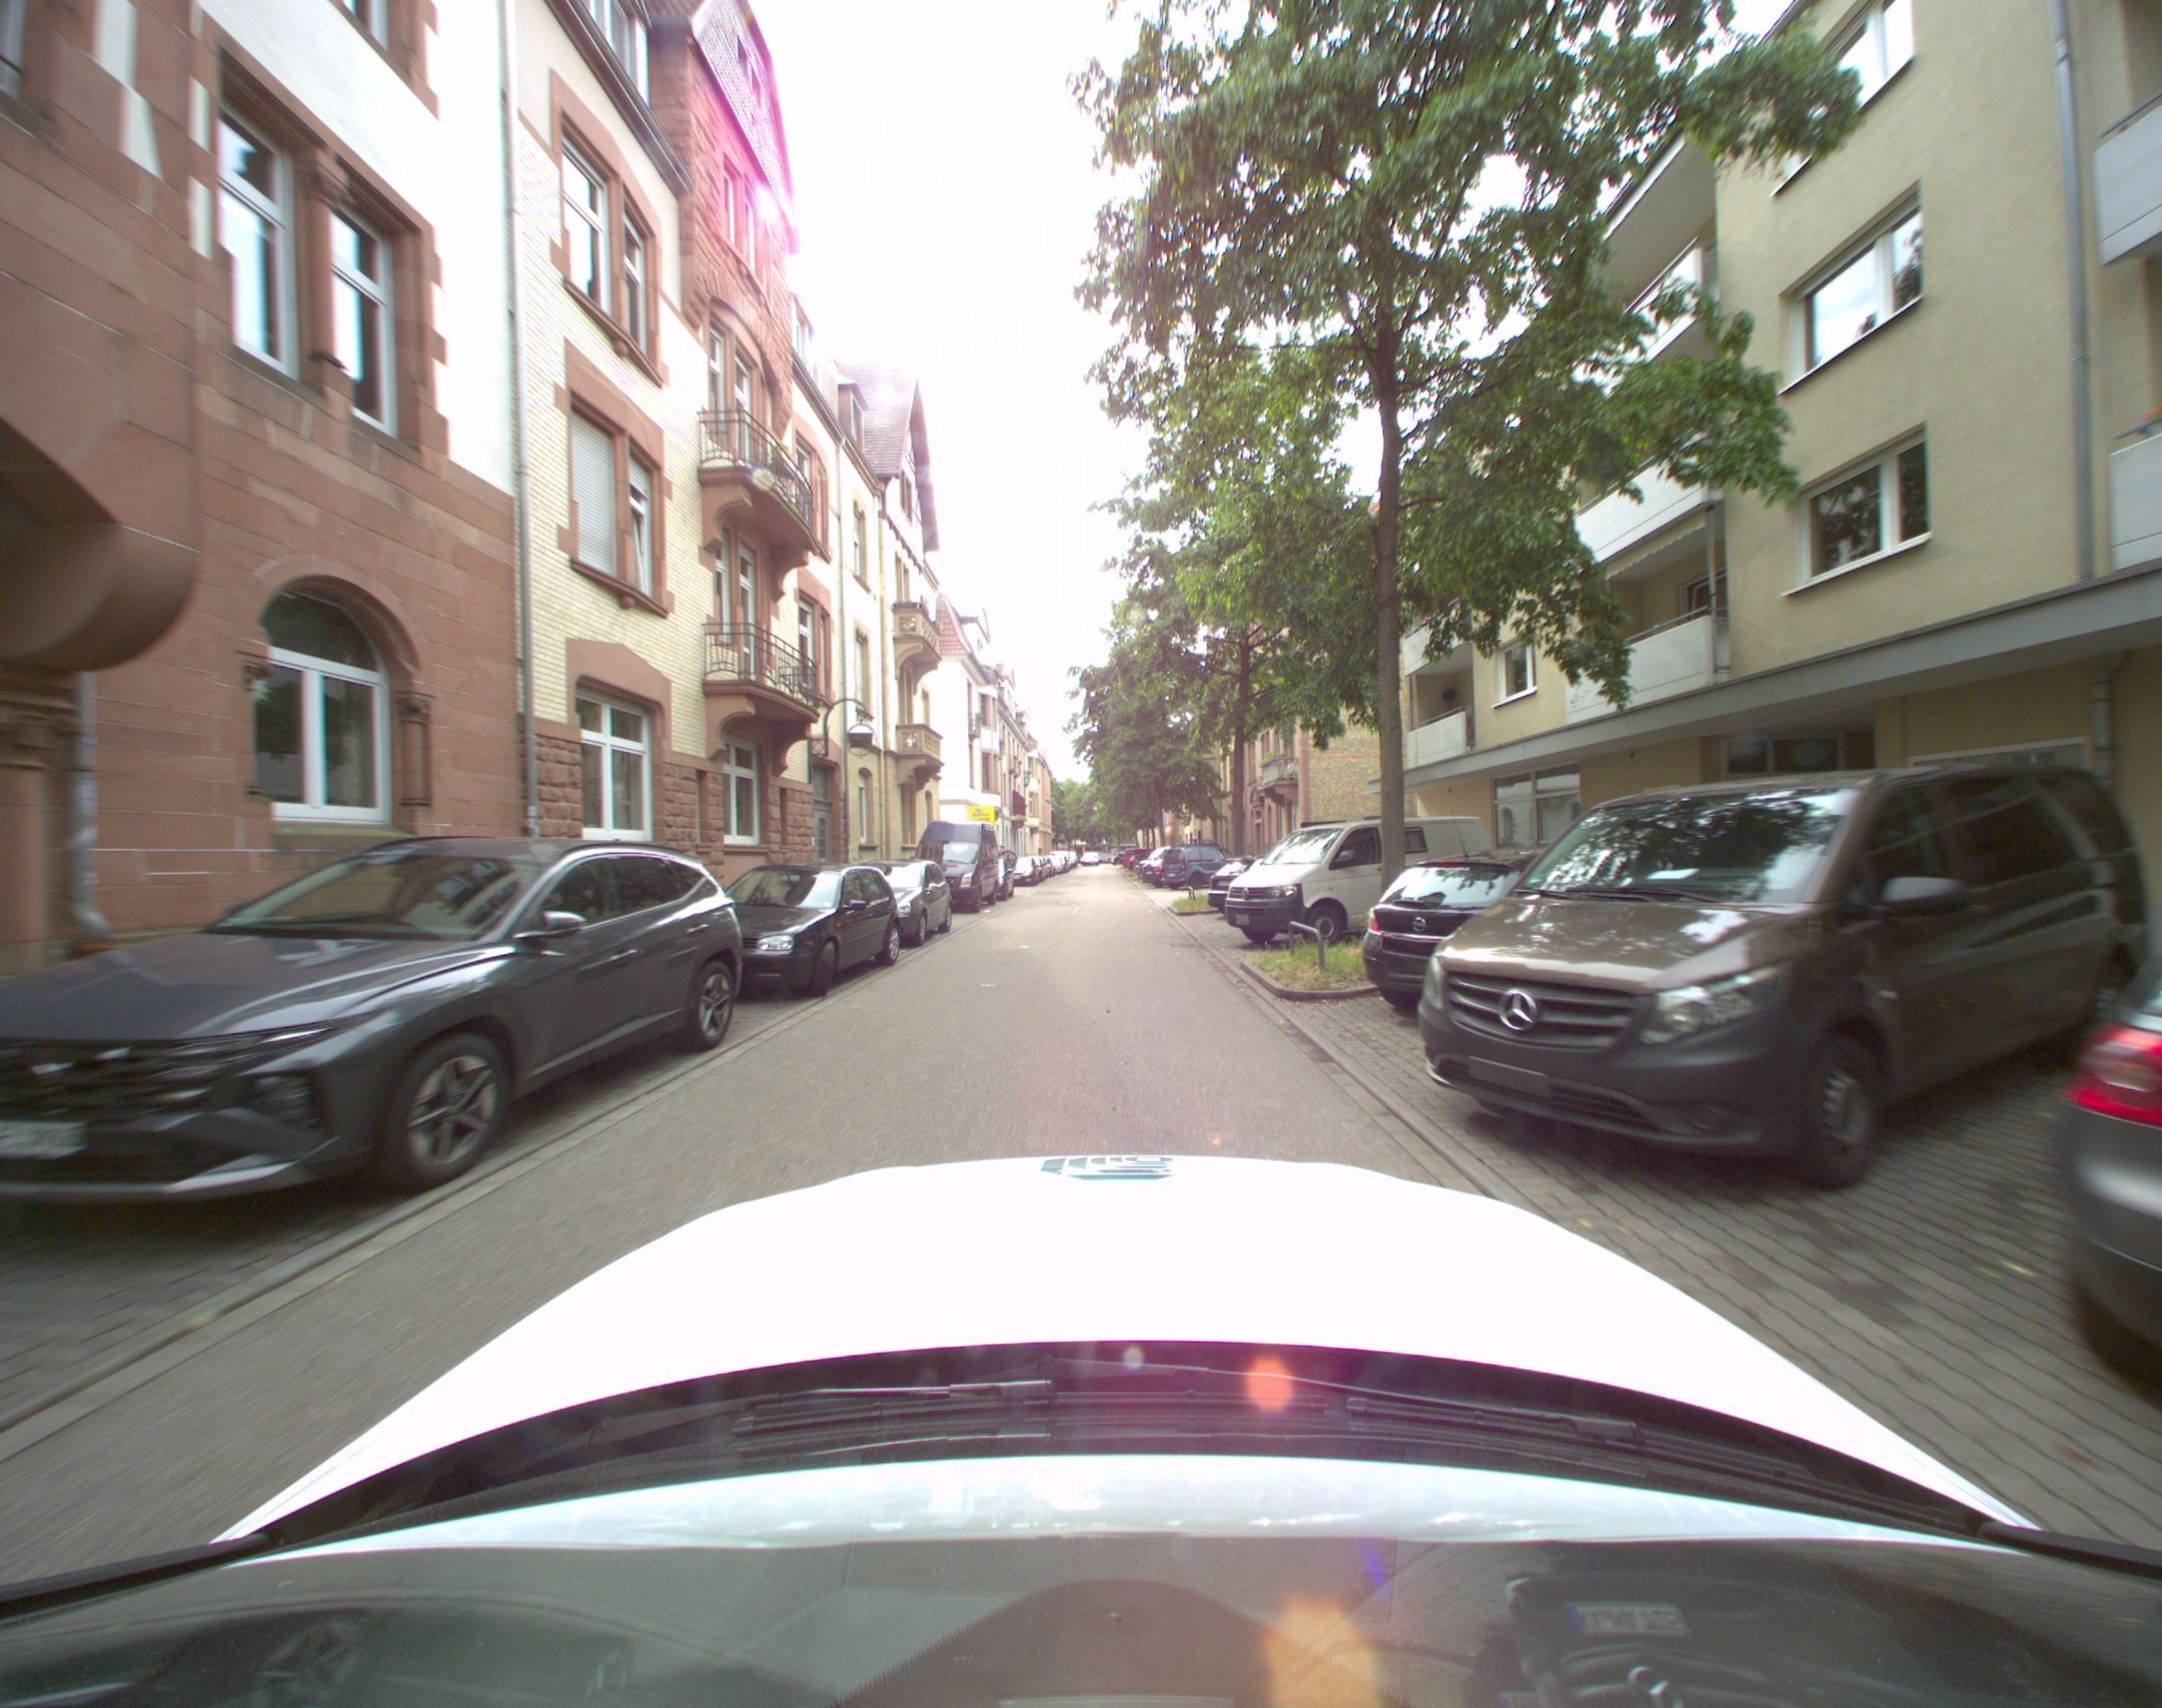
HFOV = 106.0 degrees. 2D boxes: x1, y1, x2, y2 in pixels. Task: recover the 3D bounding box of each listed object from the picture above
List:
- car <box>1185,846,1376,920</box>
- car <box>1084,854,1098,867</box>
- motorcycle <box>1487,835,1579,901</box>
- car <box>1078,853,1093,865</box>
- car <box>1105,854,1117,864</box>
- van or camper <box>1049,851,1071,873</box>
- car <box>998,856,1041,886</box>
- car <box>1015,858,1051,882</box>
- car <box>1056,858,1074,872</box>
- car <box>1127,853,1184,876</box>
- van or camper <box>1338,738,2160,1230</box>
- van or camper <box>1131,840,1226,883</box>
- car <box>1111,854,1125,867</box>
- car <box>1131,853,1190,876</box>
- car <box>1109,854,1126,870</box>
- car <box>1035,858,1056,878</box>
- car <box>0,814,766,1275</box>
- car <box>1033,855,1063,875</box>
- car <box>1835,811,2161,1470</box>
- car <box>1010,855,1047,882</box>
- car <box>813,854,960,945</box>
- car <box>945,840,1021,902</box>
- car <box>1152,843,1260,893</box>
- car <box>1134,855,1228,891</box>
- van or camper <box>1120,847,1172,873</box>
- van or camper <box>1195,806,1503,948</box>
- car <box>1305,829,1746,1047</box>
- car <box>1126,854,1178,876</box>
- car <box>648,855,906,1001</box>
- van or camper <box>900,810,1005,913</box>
[{"bbox_3d":[4.831,0.646,19.594,4.328,1.392,1.904,-3,0,-30],"label":"car"},{"bbox_3d":[1.348,0.827,106.385,1.814,1.645,3.754,0,-1,1],"label":"car"},{"bbox_3d":[9.654,0.286,17.495,0.675,1.301,2.253,-4,0,1],"label":"motorcycle"},{"bbox_3d":[0.597,0.725,115.892,1.900,1.678,4.003,2,0,3],"label":"car"},{"bbox_3d":[5.005,0.824,135.834,1.864,1.530,4.000,-2,0,1],"label":"car"},{"bbox_3d":[-2.028,0.775,80.376,1.875,1.967,4.409,-2,0,2],"label":"van or camper"},{"bbox_3d":[-3.075,0.832,41.215,1.783,1.480,4.023,0,0,1],"label":"car"},{"bbox_3d":[-3.026,1.016,52.238,1.940,1.403,4.000,2,0,1],"label":"car"},{"bbox_3d":[-1.797,1.258,93.593,1.779,1.455,3.889,-5,0,1],"label":"car"},{"bbox_3d":[5.193,0.715,57.256,3.754,1.465,1.727,-2,0,-4],"label":"car"},{"bbox_3d":[4.333,0.411,5.177,5.033,1.869,2.108,-3,-1,-27],"label":"van or camper"},{"bbox_3d":[5.307,0.378,44.119,4.805,2.138,2.036,-2,0,-30],"label":"van or camper"},{"bbox_3d":[5.393,0.917,119.164,1.986,1.794,4.000,0,-1,1],"label":"car"},{"bbox_3d":[5.345,0.706,54.909,3.703,1.408,1.573,-1,-1,-4],"label":"car"},{"bbox_3d":[4.853,1.060,108.579,1.986,2.014,4.000,2,0,1],"label":"car"},{"bbox_3d":[-2.474,0.954,56.916,1.205,1.309,3.261,-2,0,1],"label":"car"},{"bbox_3d":[-3.759,0.680,5.105,1.780,1.647,4.363,0,0,1],"label":"car"},{"bbox_3d":[-2.562,0.859,64.136,1.986,1.475,4.001,-2,0,2],"label":"car"},{"bbox_3d":[4.350,0.573,2.329,3.869,1.502,1.897,-2,-1,-26],"label":"car"},{"bbox_3d":[-3.003,0.817,47.323,1.822,1.426,3.802,2,0,1],"label":"car"},{"bbox_3d":[-3.445,0.783,15.191,1.661,1.473,4.001,0,-1,2],"label":"car"},{"bbox_3d":[-3.449,0.567,29.732,1.986,2.013,4.893,-2,0,2],"label":"car"},{"bbox_3d":[5.401,0.612,35.262,4.197,1.869,1.981,-3,-1,-29],"label":"car"},{"bbox_3d":[4.689,0.876,38.100,4.035,1.559,1.867,-1,-1,-30],"label":"car"},{"bbox_3d":[5.749,0.506,71.725,4.169,2.085,1.935,-2,0,-27],"label":"van or camper"},{"bbox_3d":[4.524,0.328,13.727,4.752,1.994,1.984,-3,-2,-24],"label":"van or camper"},{"bbox_3d":[4.291,0.607,7.756,4.021,1.444,1.824,-3,0,-30],"label":"car"},{"bbox_3d":[5.377,0.832,61.982,3.754,1.465,1.727,-2,0,-4],"label":"car"},{"bbox_3d":[-3.512,0.796,10.263,1.628,1.473,4.001,0,-1,2],"label":"car"},{"bbox_3d":[-3.610,0.200,23.977,2.001,2.651,5.317,-2,0,2],"label":"van or camper"}]
